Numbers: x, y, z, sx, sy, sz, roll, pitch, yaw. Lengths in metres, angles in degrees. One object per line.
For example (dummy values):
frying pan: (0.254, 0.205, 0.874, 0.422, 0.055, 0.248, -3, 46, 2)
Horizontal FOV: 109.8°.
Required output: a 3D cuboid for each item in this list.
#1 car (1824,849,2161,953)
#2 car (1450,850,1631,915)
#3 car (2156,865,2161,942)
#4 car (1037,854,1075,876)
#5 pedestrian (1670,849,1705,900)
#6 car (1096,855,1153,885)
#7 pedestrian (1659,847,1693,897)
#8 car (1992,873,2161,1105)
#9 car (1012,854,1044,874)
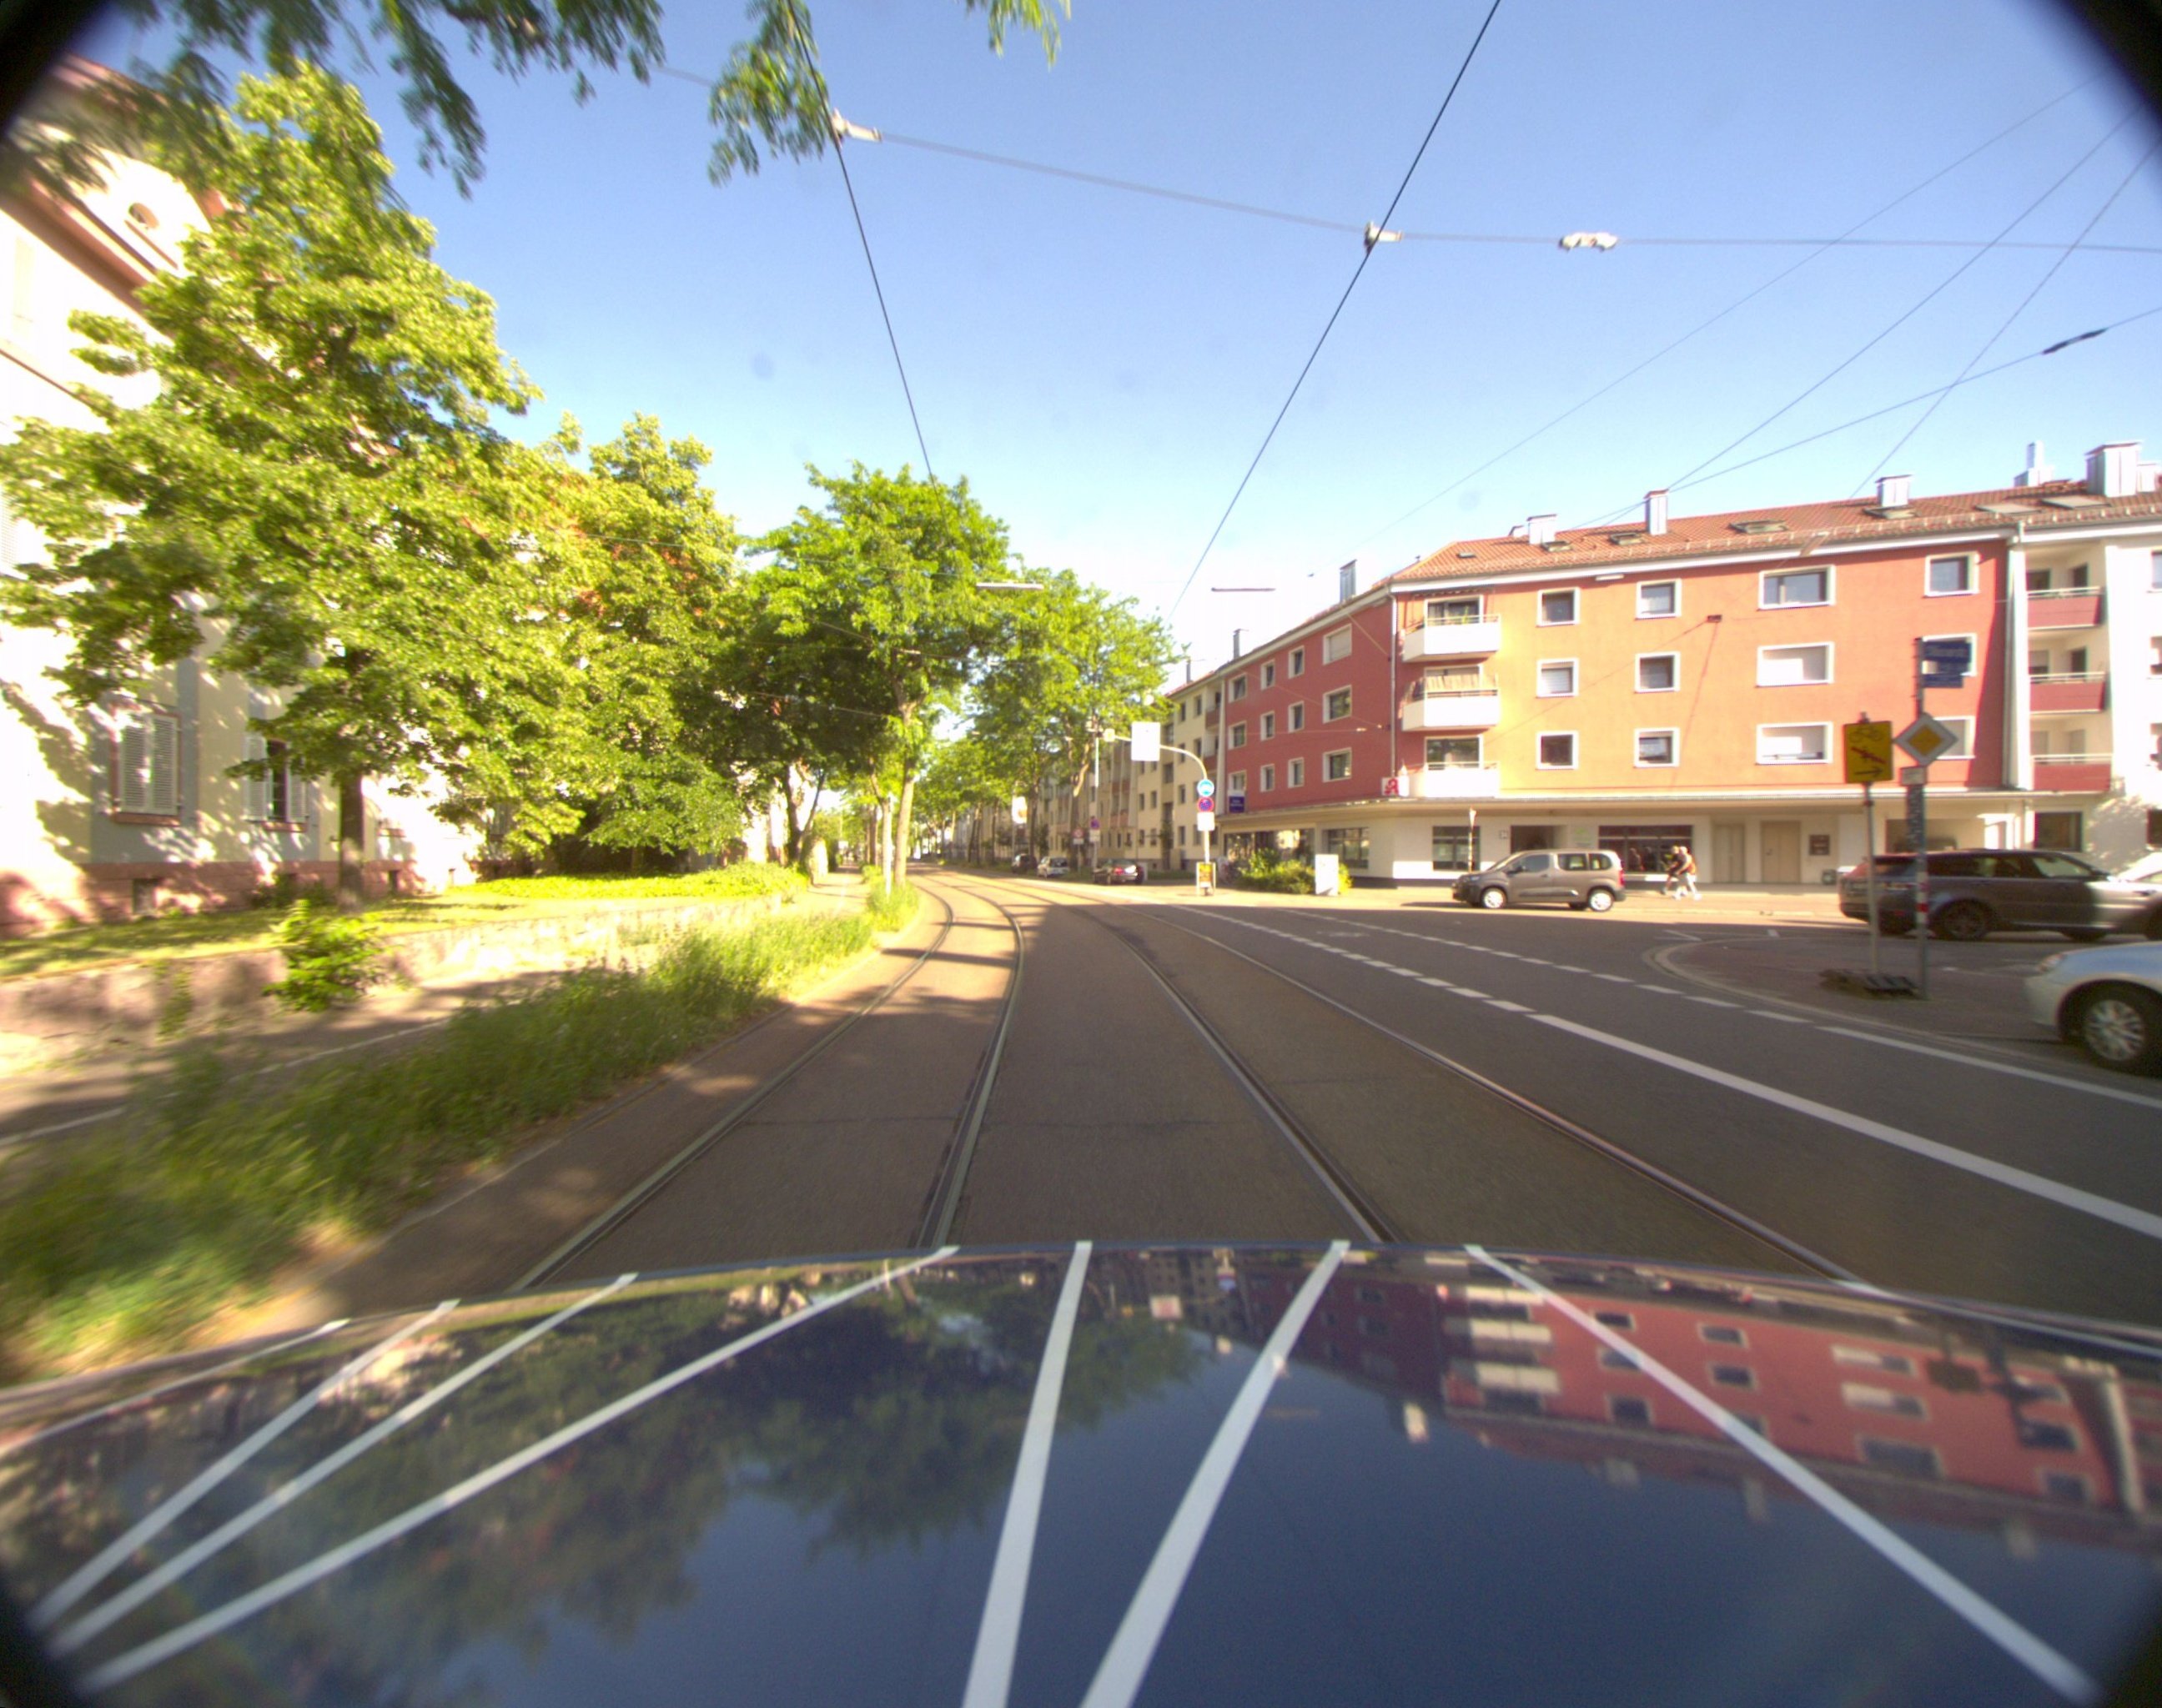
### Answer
car: (17.609, 0.816, 14.546, 4.481, 1.769, 1.791, 1, 1, 19)
car: (13.562, 0.793, 22.702, 4.280, 1.769, 1.790, 1, 1, 15)
car: (22.771, 0.997, 13.501, 4.001, 1.498, 1.688, 1, 1, 18)
car: (-1.808, 0.712, 52.748, 1.880, 1.390, 3.995, -3, 1, -12)
pedestrian: (20.908, 0.697, 26.202, 0.803, 1.755, 0.509, 1, 1, 18)
car: (2.215, 0.816, 39.657, 1.880, 1.390, 3.995, -3, 1, -12)
pedestrian: (21.189, 0.639, 27.063, 0.803, 1.755, 0.509, 1, 1, 18)
car: (8.048, 0.923, 3.960, 1.577, 1.497, 4.095, -1, 0, -3)
car: (-4.217, 0.762, 59.817, 1.880, 1.390, 3.995, -3, 1, -12)
